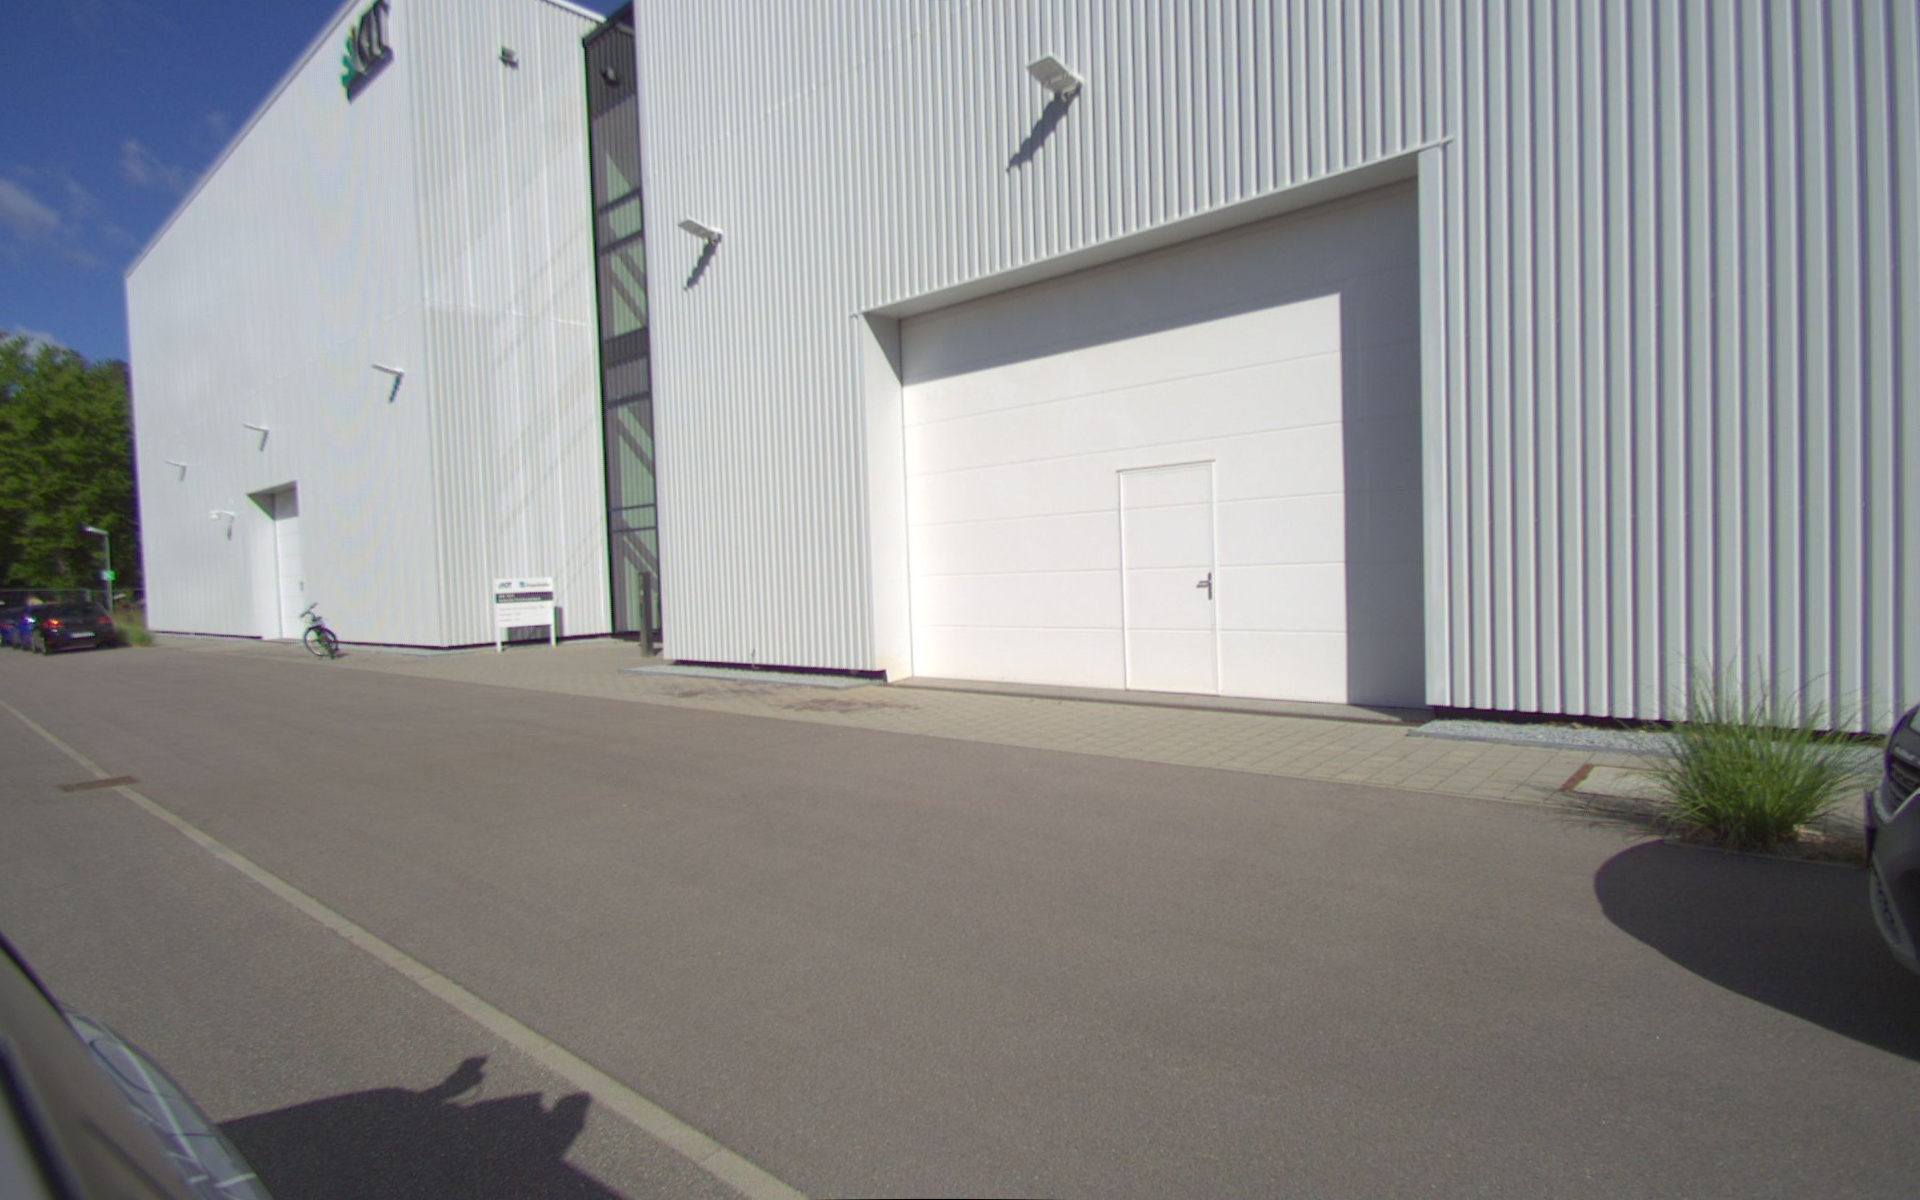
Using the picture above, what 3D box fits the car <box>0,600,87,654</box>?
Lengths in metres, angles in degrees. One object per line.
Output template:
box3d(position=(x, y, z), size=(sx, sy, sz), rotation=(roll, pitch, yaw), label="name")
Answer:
box3d(position=(-30.724, 0.867, 33.879), size=(4.001, 1.532, 1.766), rotation=(-1, 5, 44), label="car")

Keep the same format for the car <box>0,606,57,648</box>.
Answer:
box3d(position=(-34.825, 0.968, 37.441), size=(4.001, 1.451, 1.766), rotation=(-1, 1, 44), label="car")

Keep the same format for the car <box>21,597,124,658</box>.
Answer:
box3d(position=(-26.744, 0.784, 30.458), size=(4.001, 1.532, 1.870), rotation=(-1, 5, 44), label="car")

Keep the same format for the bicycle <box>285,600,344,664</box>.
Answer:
box3d(position=(-13.594, 0.646, 21.308), size=(0.895, 1.151, 1.905), rotation=(-6, 5, -33), label="bicycle")

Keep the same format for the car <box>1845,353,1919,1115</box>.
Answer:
box3d(position=(4.475, 0.249, 1.778), size=(4.357, 1.859, 1.871), rotation=(-1, 4, 41), label="car")
